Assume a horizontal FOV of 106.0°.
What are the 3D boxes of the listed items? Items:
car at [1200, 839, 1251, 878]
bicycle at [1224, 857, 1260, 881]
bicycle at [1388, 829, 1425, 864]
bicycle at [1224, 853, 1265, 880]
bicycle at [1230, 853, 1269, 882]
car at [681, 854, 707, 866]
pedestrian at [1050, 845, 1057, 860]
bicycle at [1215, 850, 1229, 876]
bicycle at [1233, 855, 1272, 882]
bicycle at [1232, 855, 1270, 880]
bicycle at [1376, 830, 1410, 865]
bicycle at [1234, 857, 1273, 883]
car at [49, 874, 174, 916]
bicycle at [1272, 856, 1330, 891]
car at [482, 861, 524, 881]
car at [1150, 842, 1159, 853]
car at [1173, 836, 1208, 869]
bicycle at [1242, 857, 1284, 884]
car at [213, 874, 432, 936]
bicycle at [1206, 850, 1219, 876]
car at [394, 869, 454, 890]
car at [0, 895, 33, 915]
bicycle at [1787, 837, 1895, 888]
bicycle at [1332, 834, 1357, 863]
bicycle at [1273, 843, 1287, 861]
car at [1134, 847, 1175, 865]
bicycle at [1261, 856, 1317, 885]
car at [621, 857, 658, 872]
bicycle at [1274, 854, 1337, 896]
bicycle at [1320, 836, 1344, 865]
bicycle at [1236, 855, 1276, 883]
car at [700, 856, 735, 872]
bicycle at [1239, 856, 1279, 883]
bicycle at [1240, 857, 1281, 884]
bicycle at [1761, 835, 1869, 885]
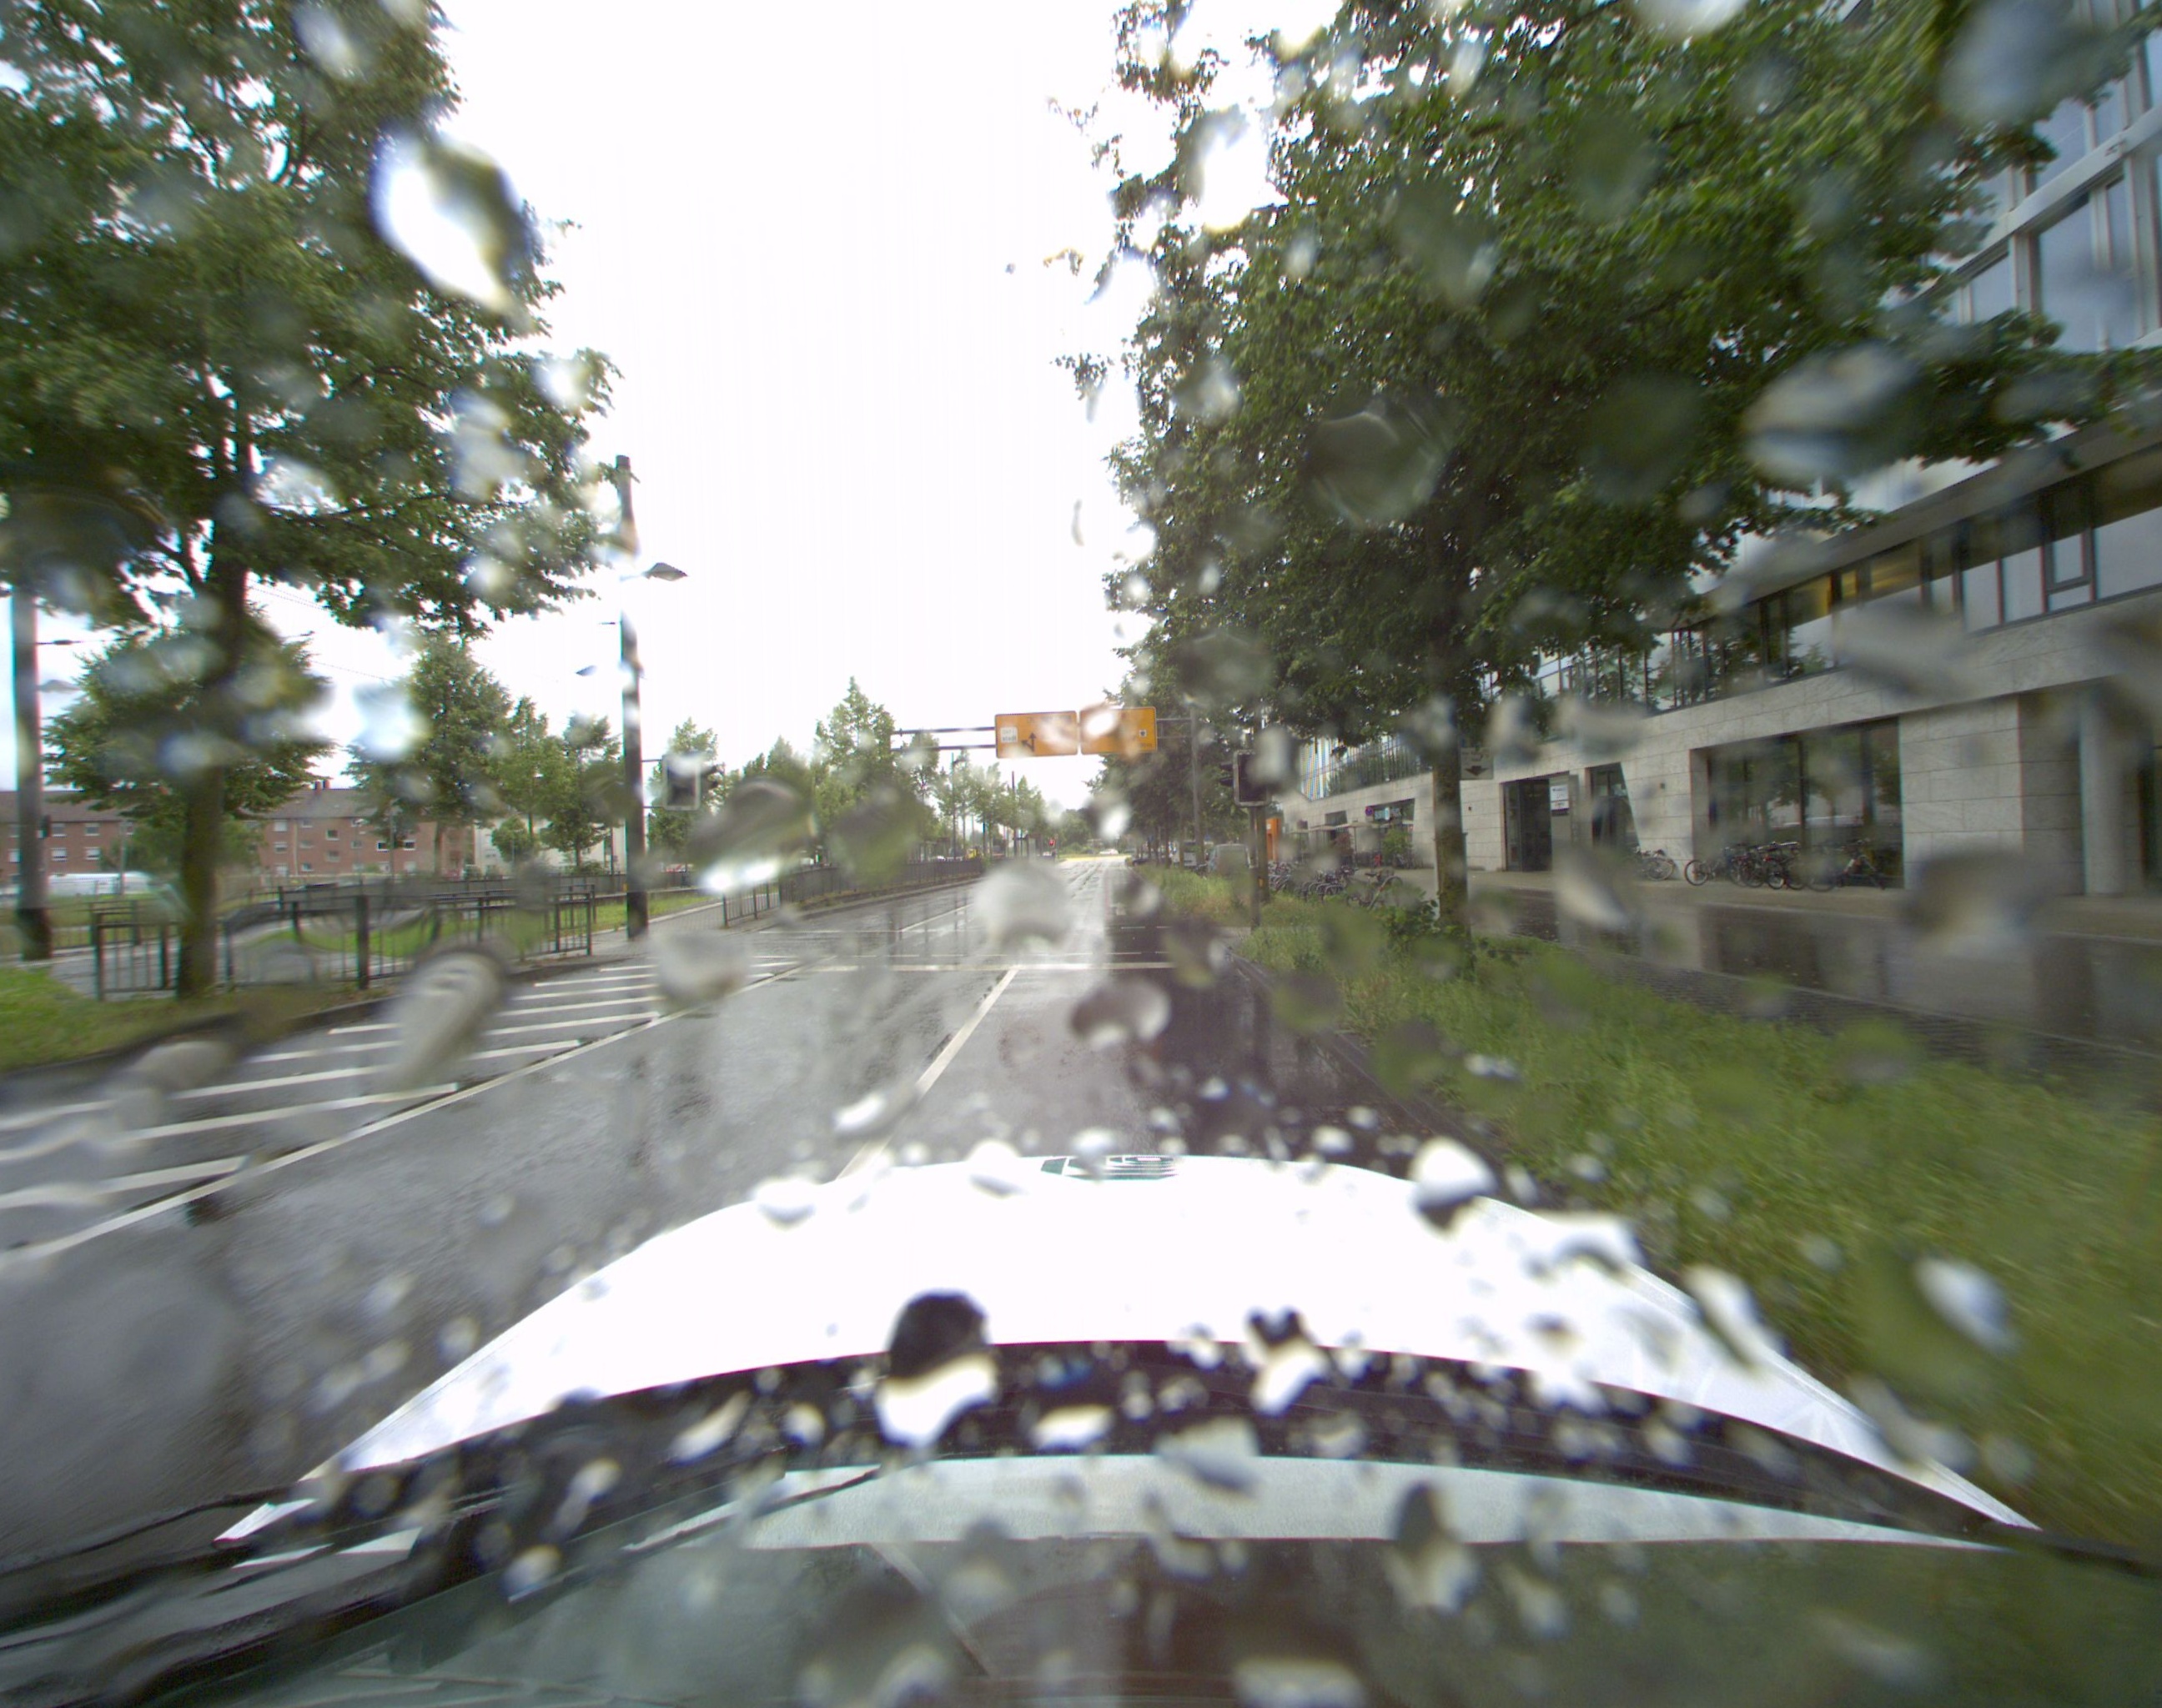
[{"bbox_3d":[7.313,0.202,41.722,1.899,1.791,4.690,-2,0,2],"label":"car"},{"bbox_3d":[6.118,0.578,30.906,1.284,0.849,0.275,-2,0,1],"label":"bicycle"},{"bbox_3d":[17.134,-0.427,42.956,0.769,1.722,3.122,-2,2,2],"label":"bicycle"},{"bbox_3d":[6.270,0.475,31.248,1.455,0.979,0.311,-2,0,1],"label":"bicycle"},{"bbox_3d":[5.980,0.485,28.899,1.284,0.989,0.275,-2,0,1],"label":"bicycle"},{"bbox_3d":[-60.489,0.927,127.385,3.546,1.738,1.694,-3,3,-22],"label":"car"},{"bbox_3d":[-3.760,-0.236,111.627,0.693,2.013,0.658,-2,2,13],"label":"pedestrian"},{"bbox_3d":[4.813,0.291,27.802,0.273,0.849,1.293,-2,0,3],"label":"bicycle"},{"bbox_3d":[6.144,0.514,29.229,1.320,0.910,0.275,-2,0,1],"label":"bicycle"},{"bbox_3d":[6.164,0.502,29.589,1.284,0.849,0.275,-2,0,1],"label":"bicycle"},{"bbox_3d":[16.345,-0.386,42.710,0.642,1.722,3.122,-2,2,2],"label":"bicycle"},{"bbox_3d":[6.053,0.554,28.592,1.284,0.849,0.275,-2,0,1],"label":"bicycle"},{"bbox_3d":[-67.328,2.769,56.705,1.830,2.326,5.503,-2,2,2],"label":"car"},{"bbox_3d":[6.483,0.572,23.992,1.609,1.022,0.275,-1,-1,1],"label":"bicycle"},{"bbox_3d":[-68.452,2.028,96.532,1.986,2.013,4.003,-2,2,2],"label":"car"},{"bbox_3d":[13.514,-1.227,149.436,1.615,1.699,3.462,-2,2,5],"label":"car"},{"bbox_3d":[8.045,-0.128,60.271,2.113,2.274,4.567,-2,0,2],"label":"car"},{"bbox_3d":[6.060,0.557,27.146,1.284,0.849,0.275,-2,0,1],"label":"bicycle"},{"bbox_3d":[-24.387,1.554,26.572,1.945,1.607,5.500,-2,0,0],"label":"car"},{"bbox_3d":[4.483,0.302,27.791,0.273,0.849,1.293,-2,0,3],"label":"bicycle"},{"bbox_3d":[-76.884,2.959,95.386,2.073,2.013,5.387,-2,2,9],"label":"car"},{"bbox_3d":[-73.580,3.549,54.507,1.734,1.156,3.816,-2,2,2],"label":"car"},{"bbox_3d":[16.122,0.180,17.286,1.798,1.028,0.402,-2,0,4],"label":"bicycle"},{"bbox_3d":[17.032,-0.390,52.757,0.642,1.722,3.122,-2,2,2],"label":"bicycle"},{"bbox_3d":[18.140,-0.200,74.400,0.663,1.534,2.766,-2,2,2],"label":"bicycle"},{"bbox_3d":[6.955,0.180,77.290,1.827,1.544,3.962,-4,3,-30],"label":"car"},{"bbox_3d":[6.356,0.508,24.906,1.609,0.849,0.275,-1,0,1],"label":"bicycle"},{"bbox_3d":[-61.231,1.477,112.950,1.978,2.013,4.234,-1,0,17],"label":"car"},{"bbox_3d":[6.198,0.580,22.492,1.608,1.096,0.296,-2,0,-1],"label":"bicycle"},{"bbox_3d":[16.290,-0.274,52.826,0.642,1.722,3.122,-2,2,2],"label":"bicycle"},{"bbox_3d":[6.065,0.509,28.243,1.284,0.918,0.275,-2,0,1],"label":"bicycle"},{"bbox_3d":[-48.349,1.267,108.385,1.978,2.013,4.018,-1,0,17],"label":"car"},{"bbox_3d":[6.089,0.535,27.868,1.284,0.849,0.275,-2,0,1],"label":"bicycle"},{"bbox_3d":[6.063,0.556,27.518,1.284,0.849,0.355,-2,0,1],"label":"bicycle"},{"bbox_3d":[16.204,0.126,18.004,1.798,1.028,0.541,-2,0,4],"label":"bicycle"}]
